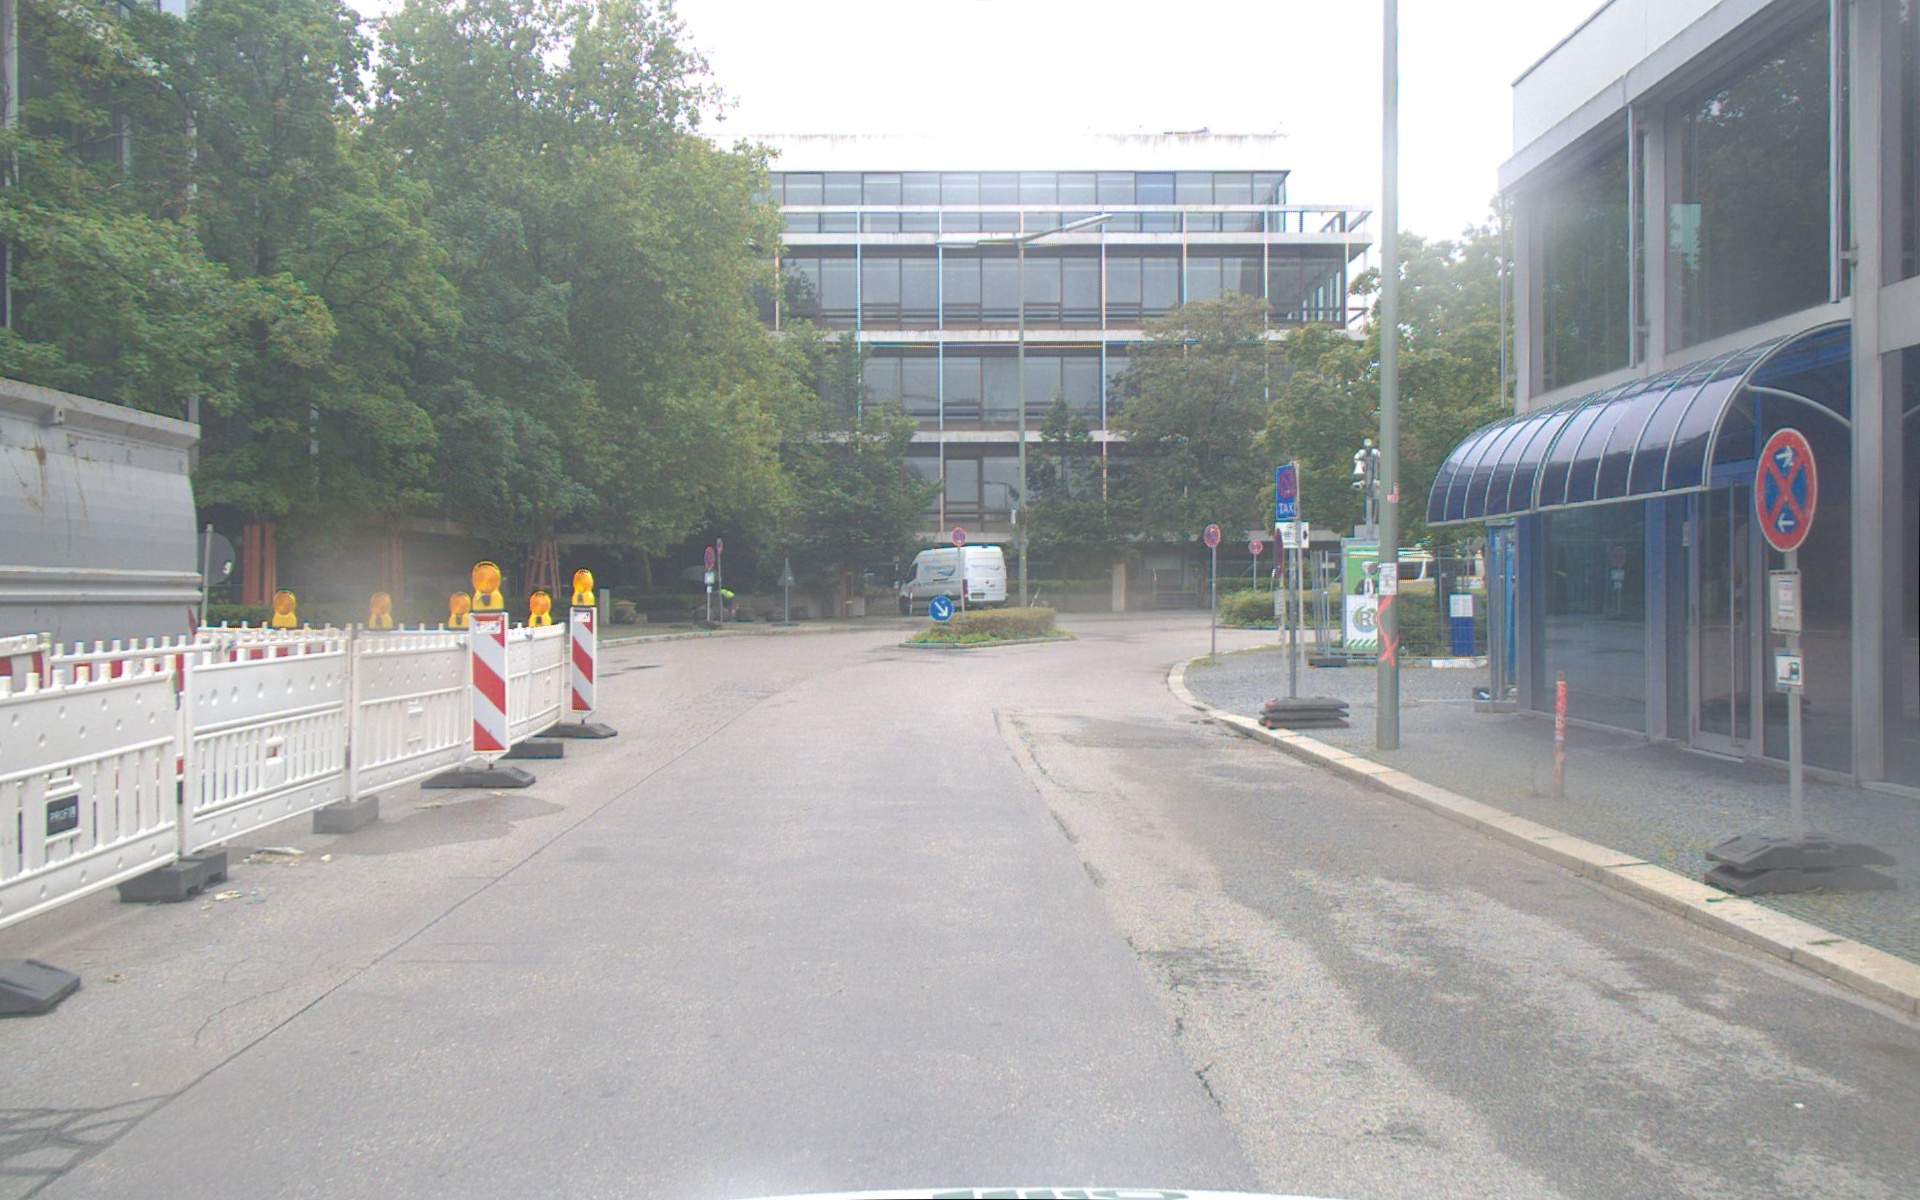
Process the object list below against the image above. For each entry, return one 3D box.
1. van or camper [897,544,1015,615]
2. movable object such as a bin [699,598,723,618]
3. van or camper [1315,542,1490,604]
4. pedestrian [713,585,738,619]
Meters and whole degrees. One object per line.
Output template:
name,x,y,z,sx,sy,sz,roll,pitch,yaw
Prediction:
van or camper,-0.235,-0.748,66.516,2.130,2.626,6.483,0,-1,-26
movable object such as a bin,-9.661,0.321,64.141,0.817,0.766,0.572,0,0,1
van or camper,17.093,-1.047,63.897,6.291,2.321,2.246,0,1,-15
pedestrian,-9.105,0.067,64.187,0.907,1.300,0.542,0,0,1
